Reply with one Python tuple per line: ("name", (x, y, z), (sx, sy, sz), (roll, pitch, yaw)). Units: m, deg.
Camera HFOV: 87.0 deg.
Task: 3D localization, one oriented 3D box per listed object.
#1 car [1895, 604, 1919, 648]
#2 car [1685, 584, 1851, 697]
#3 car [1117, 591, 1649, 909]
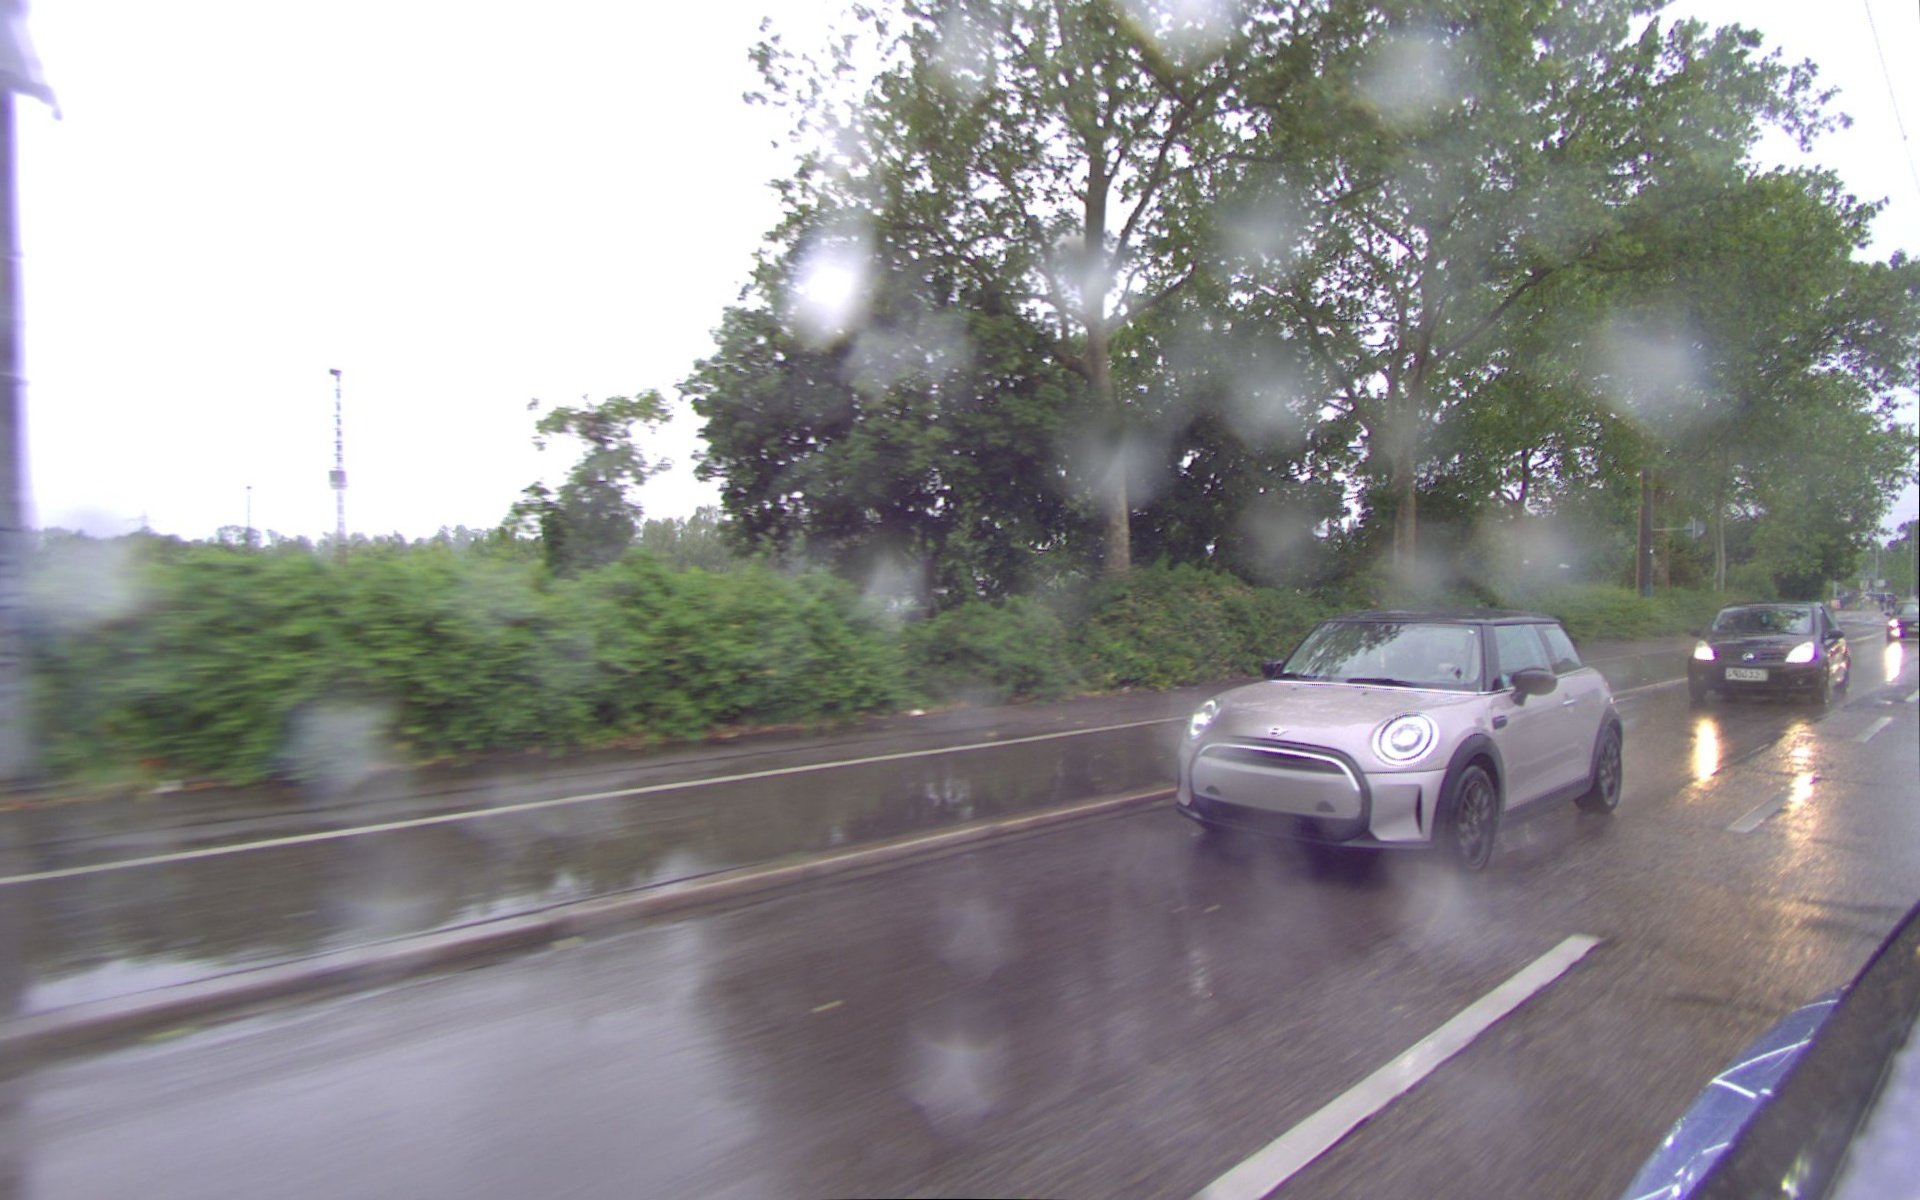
("car", (34.275, 0.909, 35.542), (3.972, 1.504, 1.713), (1, -1, -42))
("car", (12.257, 0.570, 15.483), (1.768, 1.480, 4.036), (0, -1, 38))
("car", (2.938, 0.681, 6.657), (3.788, 1.431, 1.794), (-1, 1, -42))
